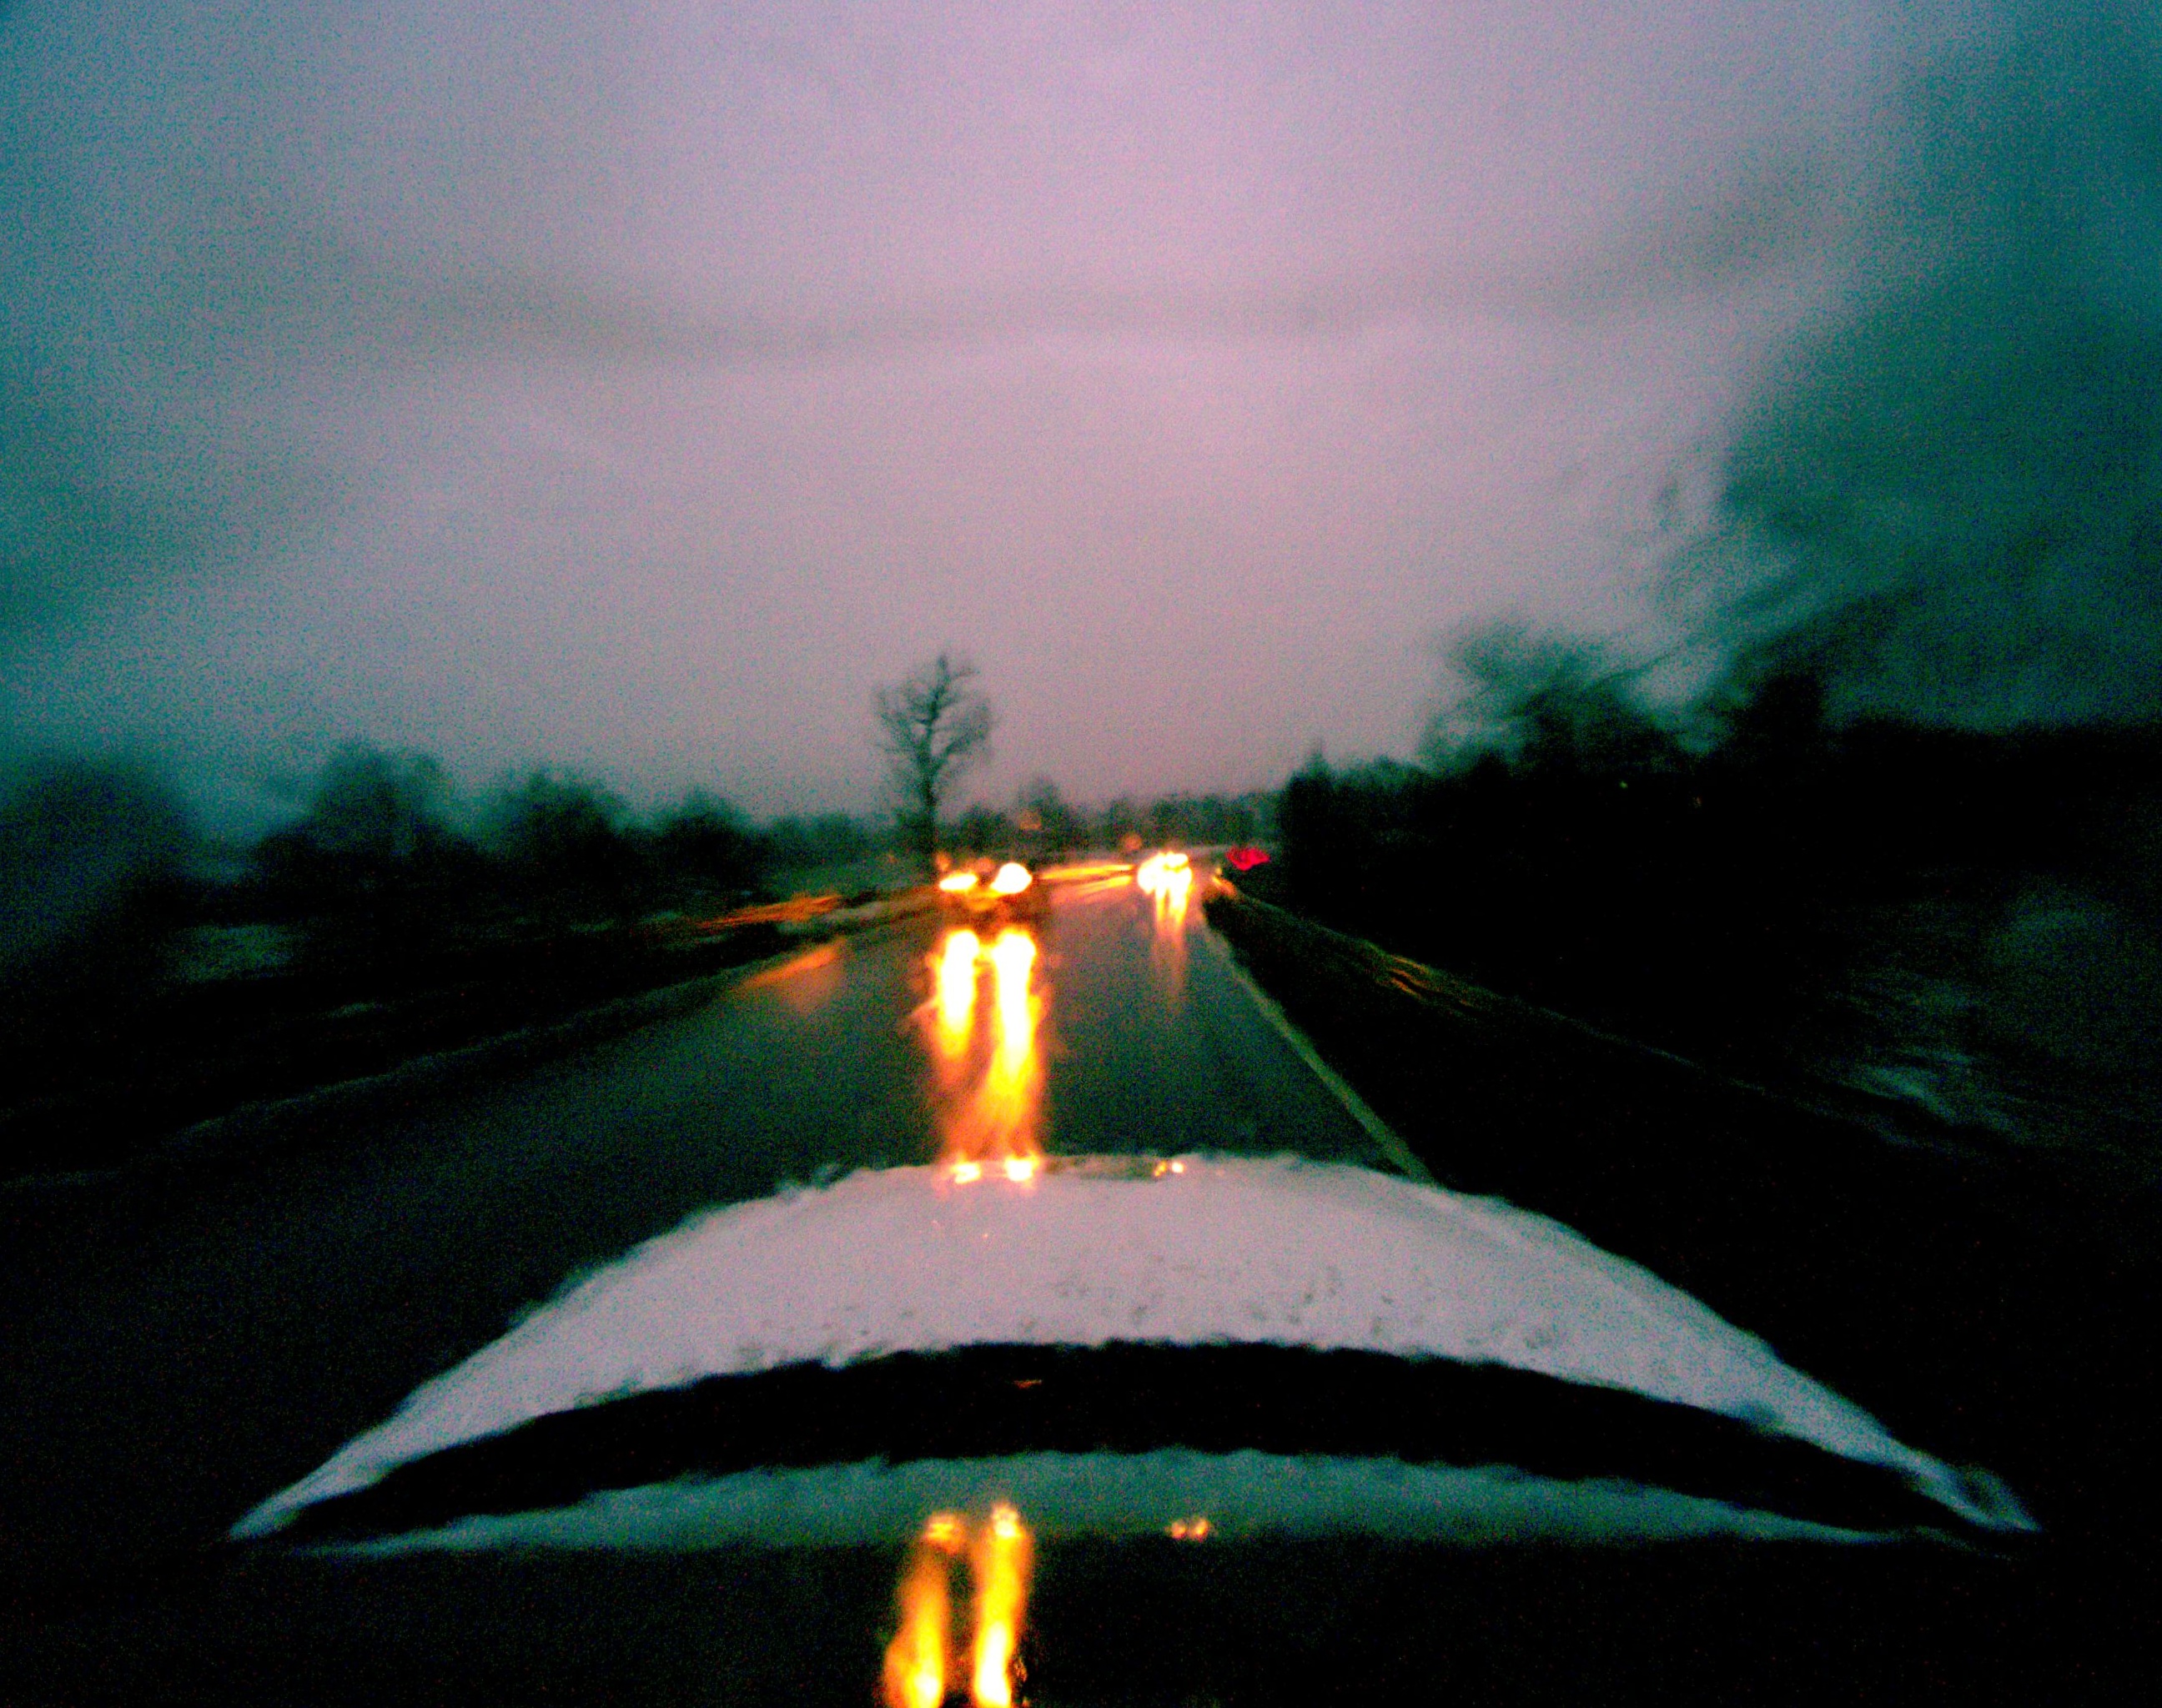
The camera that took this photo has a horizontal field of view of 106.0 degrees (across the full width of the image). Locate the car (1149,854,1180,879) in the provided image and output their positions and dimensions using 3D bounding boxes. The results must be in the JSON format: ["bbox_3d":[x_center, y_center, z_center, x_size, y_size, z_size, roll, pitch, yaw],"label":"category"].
[{"bbox_3d":[6.784,0.982,65.775,1.871,1.863,5.023,-1,0,12],"label":"car"}]

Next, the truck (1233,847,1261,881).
[{"bbox_3d":[16.904,0.931,82.730,2.514,2.868,5.946,-3,3,14],"label":"truck"}]

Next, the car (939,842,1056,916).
[{"bbox_3d":[-1.966,0.550,20.870,2.000,1.634,4.881,-1,0,5],"label":"car"}]
